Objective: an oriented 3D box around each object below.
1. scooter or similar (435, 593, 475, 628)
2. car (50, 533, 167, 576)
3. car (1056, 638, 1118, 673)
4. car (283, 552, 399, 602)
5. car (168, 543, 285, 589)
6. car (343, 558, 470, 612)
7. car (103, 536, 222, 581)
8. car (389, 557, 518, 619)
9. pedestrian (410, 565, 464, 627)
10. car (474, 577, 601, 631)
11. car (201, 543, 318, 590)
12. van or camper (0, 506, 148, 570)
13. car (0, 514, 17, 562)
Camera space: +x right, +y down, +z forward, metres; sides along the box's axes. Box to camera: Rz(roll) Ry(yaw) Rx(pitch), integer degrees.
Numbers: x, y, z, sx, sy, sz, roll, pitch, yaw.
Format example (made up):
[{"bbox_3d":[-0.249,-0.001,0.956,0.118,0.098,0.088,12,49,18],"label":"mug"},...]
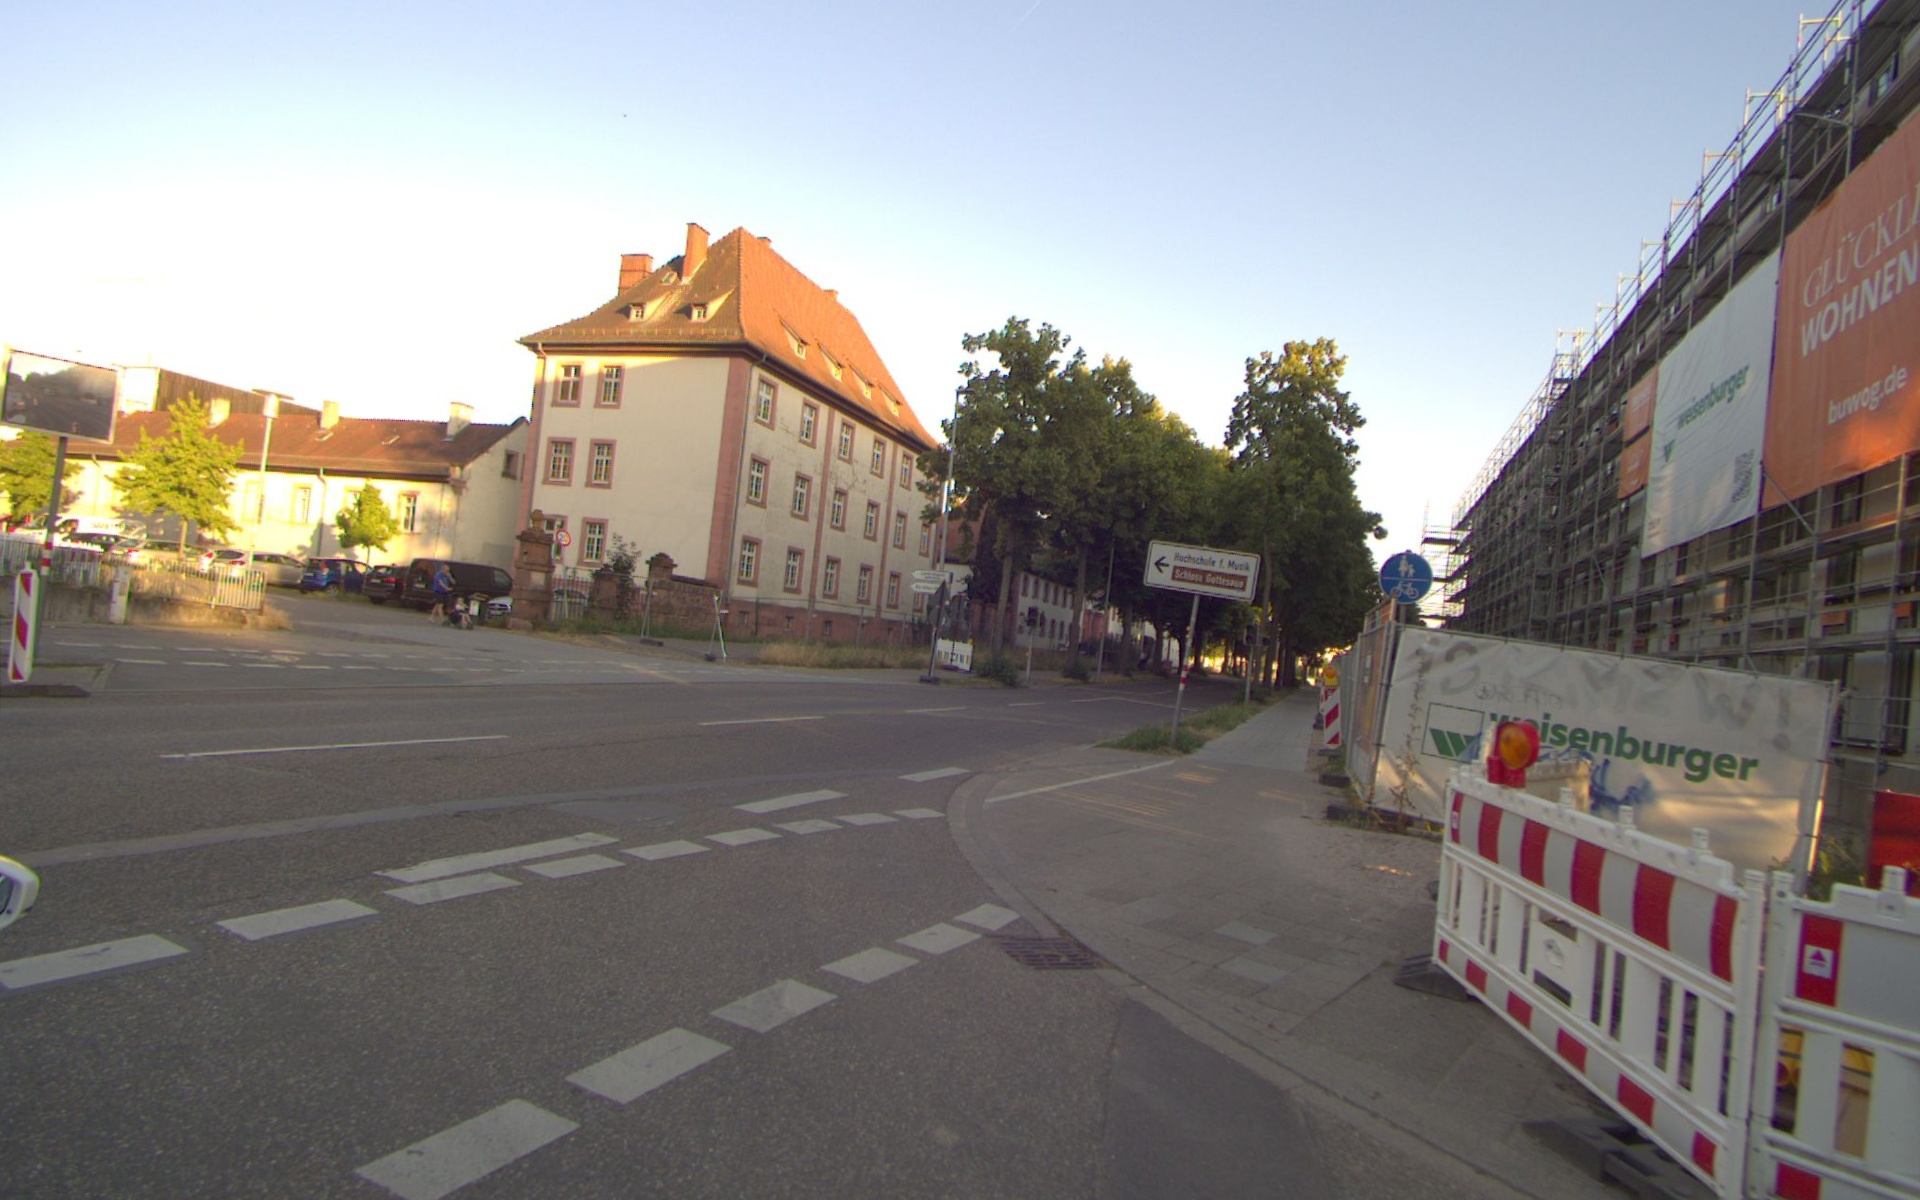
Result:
[{"bbox_3d":[-14.277,0.294,28.448,0.791,0.901,0.515,5,-1,22],"label":"scooter or similar"},{"bbox_3d":[-39.473,-2.089,46.728,1.655,1.462,3.756,6,-2,18],"label":"car"},{"bbox_3d":[9.157,3.995,72.418,3.924,2.037,2.002,6,-1,17],"label":"car"},{"bbox_3d":[-25.345,-0.901,41.335,1.655,1.546,3.756,6,-2,18],"label":"car"},{"bbox_3d":[-32.022,-1.455,44.033,1.655,1.462,3.756,6,-2,18],"label":"car"},{"bbox_3d":[-21.628,-0.554,39.518,1.962,1.591,4.004,6,-2,18],"label":"car"},{"bbox_3d":[-35.575,-1.819,44.981,1.655,1.462,3.756,6,-2,18],"label":"car"},{"bbox_3d":[-19.139,-0.408,38.207,1.962,1.880,4.004,6,-2,18],"label":"car"},{"bbox_3d":[-15.033,-0.105,28.918,0.996,1.661,0.752,5,-1,22],"label":"pedestrian"},{"bbox_3d":[-15.070,0.189,36.146,1.962,1.476,4.004,6,-2,18],"label":"car"},{"bbox_3d":[-29.738,-1.395,42.819,1.655,1.462,3.756,6,-2,18],"label":"car"},{"bbox_3d":[-42.211,-2.909,48.104,1.655,2.266,4.983,6,-2,18],"label":"van or camper"},{"bbox_3d":[-34.524,-2.348,33.770,1.655,1.622,3.755,6,-2,18],"label":"car"}]
